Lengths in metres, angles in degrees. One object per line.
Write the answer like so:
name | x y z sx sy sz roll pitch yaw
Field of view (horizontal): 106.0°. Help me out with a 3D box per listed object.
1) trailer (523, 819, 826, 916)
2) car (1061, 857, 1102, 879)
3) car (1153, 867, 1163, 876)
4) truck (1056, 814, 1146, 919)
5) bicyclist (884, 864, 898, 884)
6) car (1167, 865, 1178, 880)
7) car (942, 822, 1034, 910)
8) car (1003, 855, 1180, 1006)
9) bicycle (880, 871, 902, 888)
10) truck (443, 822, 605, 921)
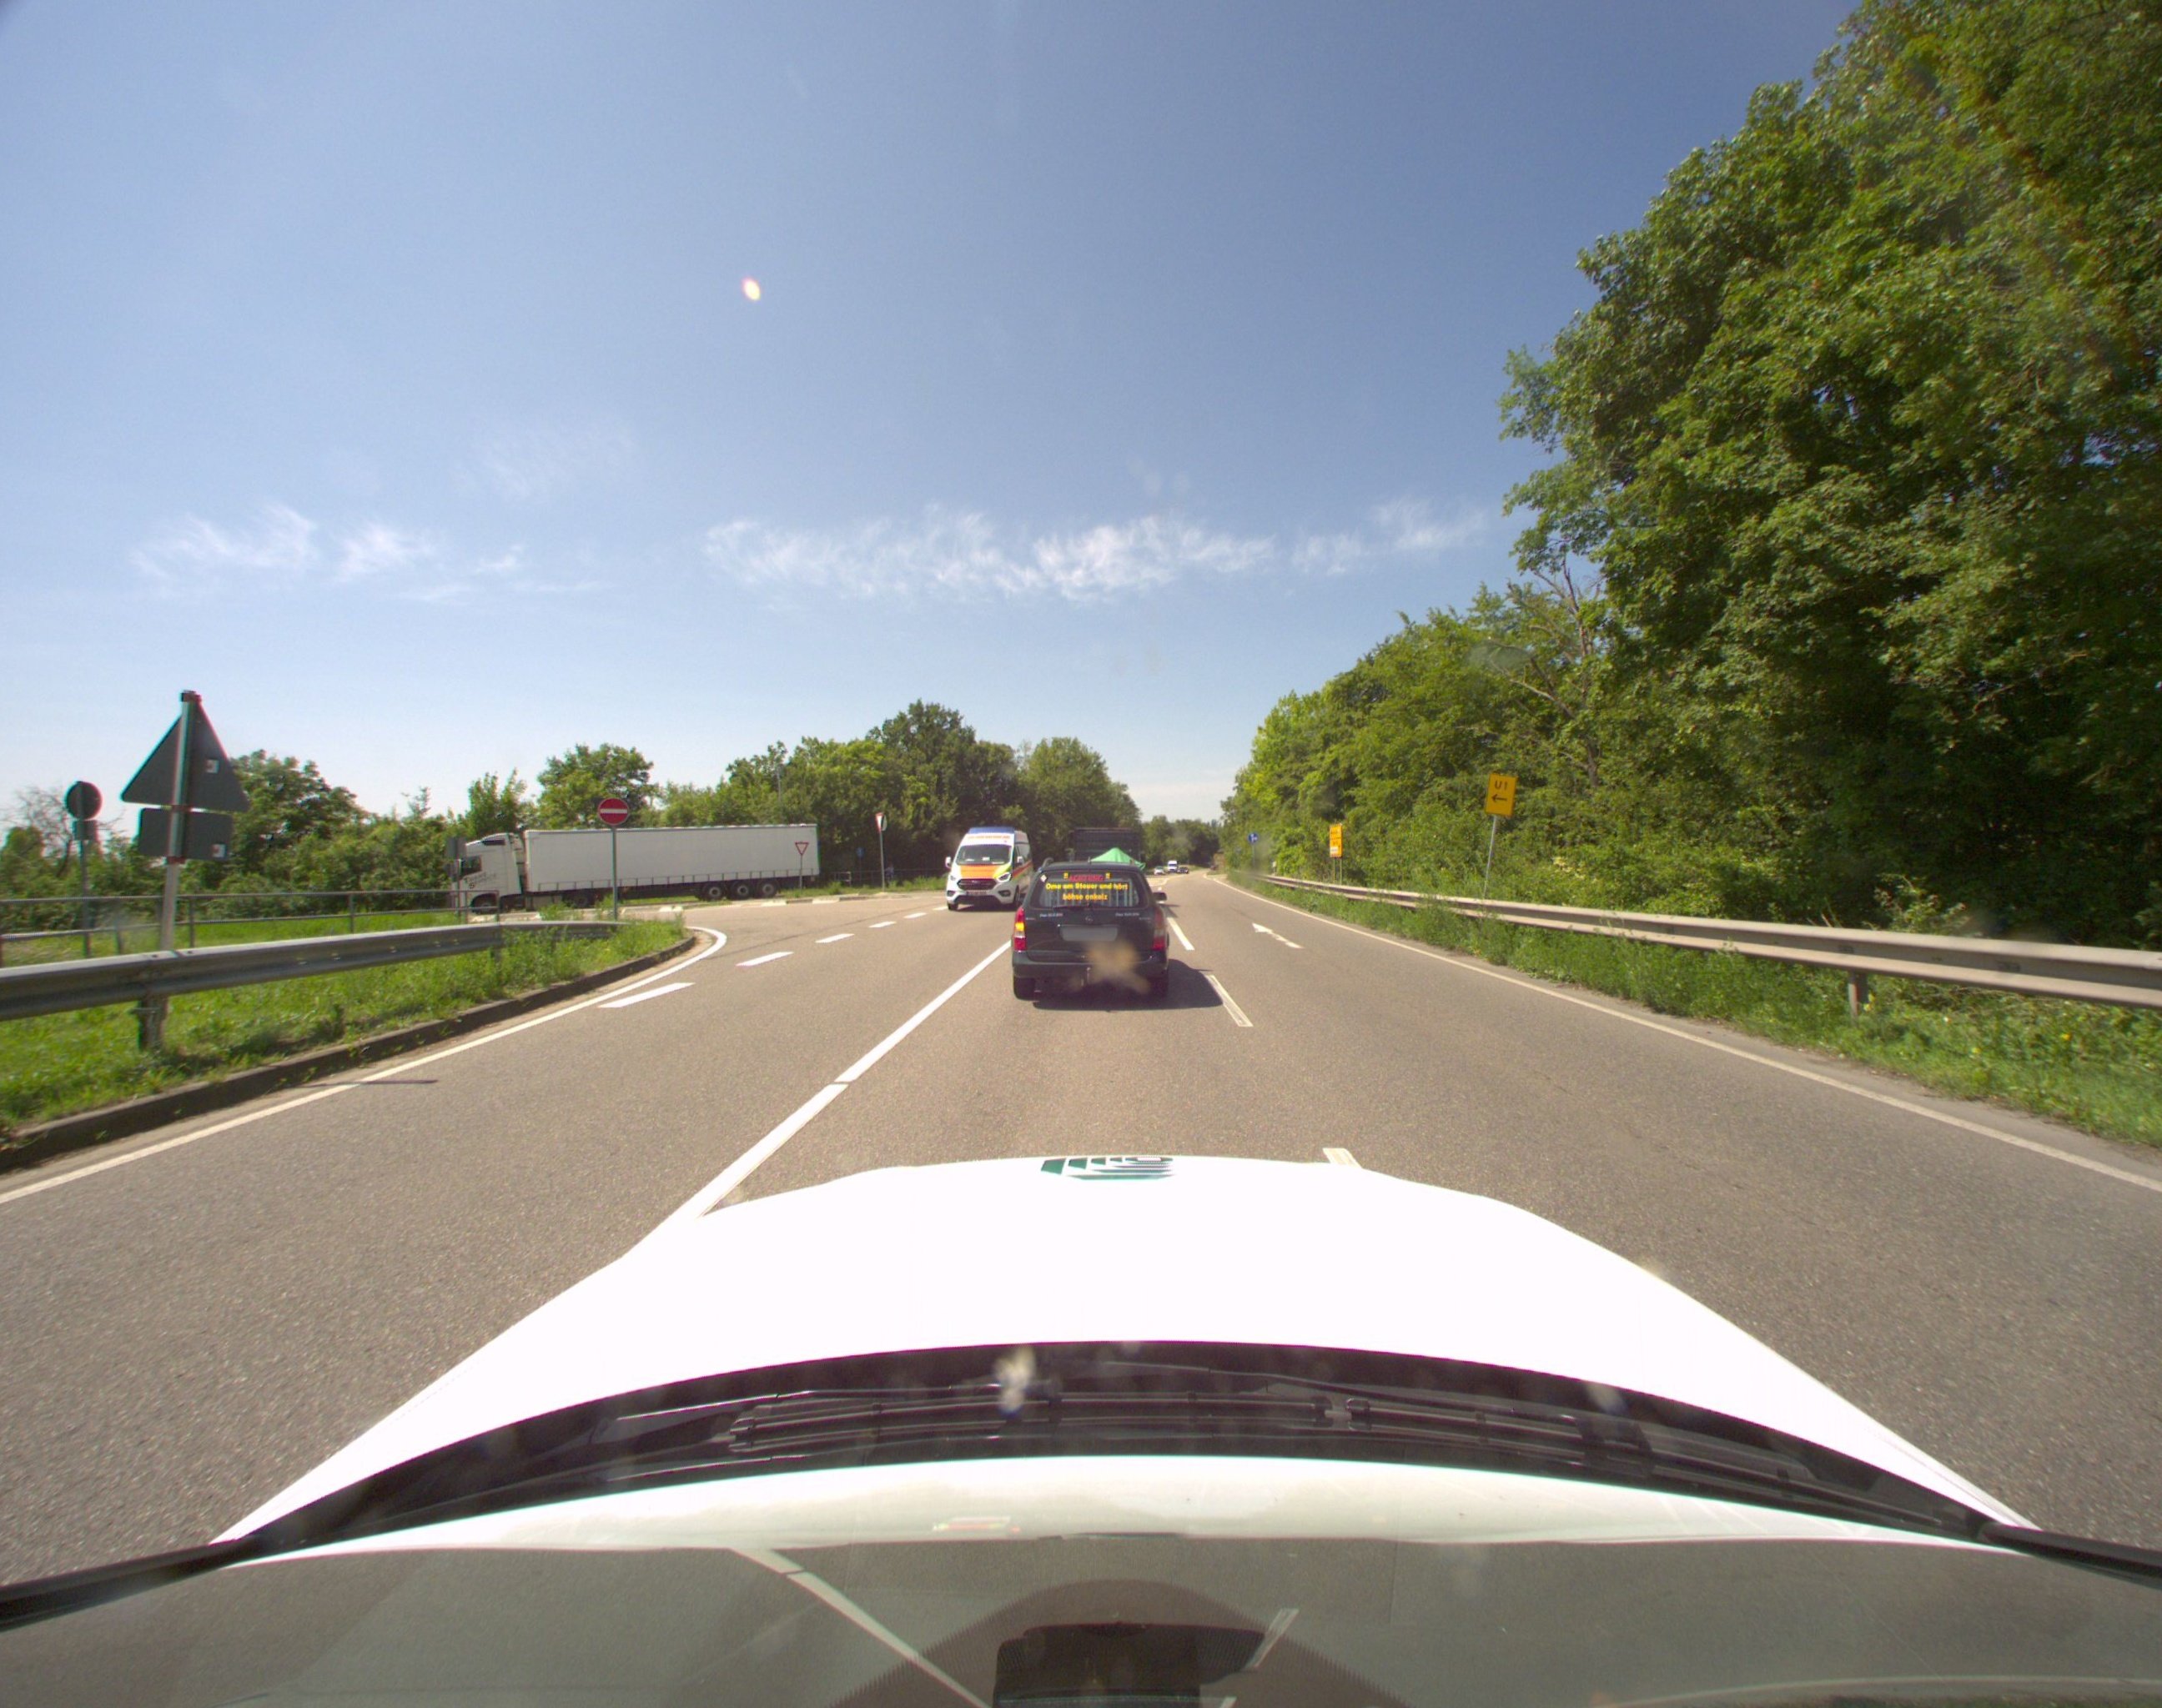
trailer | -20.864 0.439 42.925 13.857 4.275 2.965 -3 1 -38
car | 0.088 1.298 75.456 1.993 1.924 5.222 -1 0 22
car | 12.316 2.852 130.593 1.636 1.419 3.771 0 -1 5
truck | 0.745 0.319 23.305 2.129 2.565 6.648 -1 0 5
bicyclist | -13.256 1.373 56.842 0.681 1.363 0.613 -1 0 37
car | 18.664 3.714 166.132 2.094 2.850 6.022 0 -1 6
car | -2.662 0.309 24.576 1.982 2.368 5.184 0 0 2
car | 0.203 0.747 9.835 1.713 1.457 3.800 0 0 3
bicycle | -13.258 1.755 56.833 0.431 1.113 1.491 -2 -1 36
truck | -26.380 0.708 38.979 5.944 4.275 2.971 -3 1 -28
